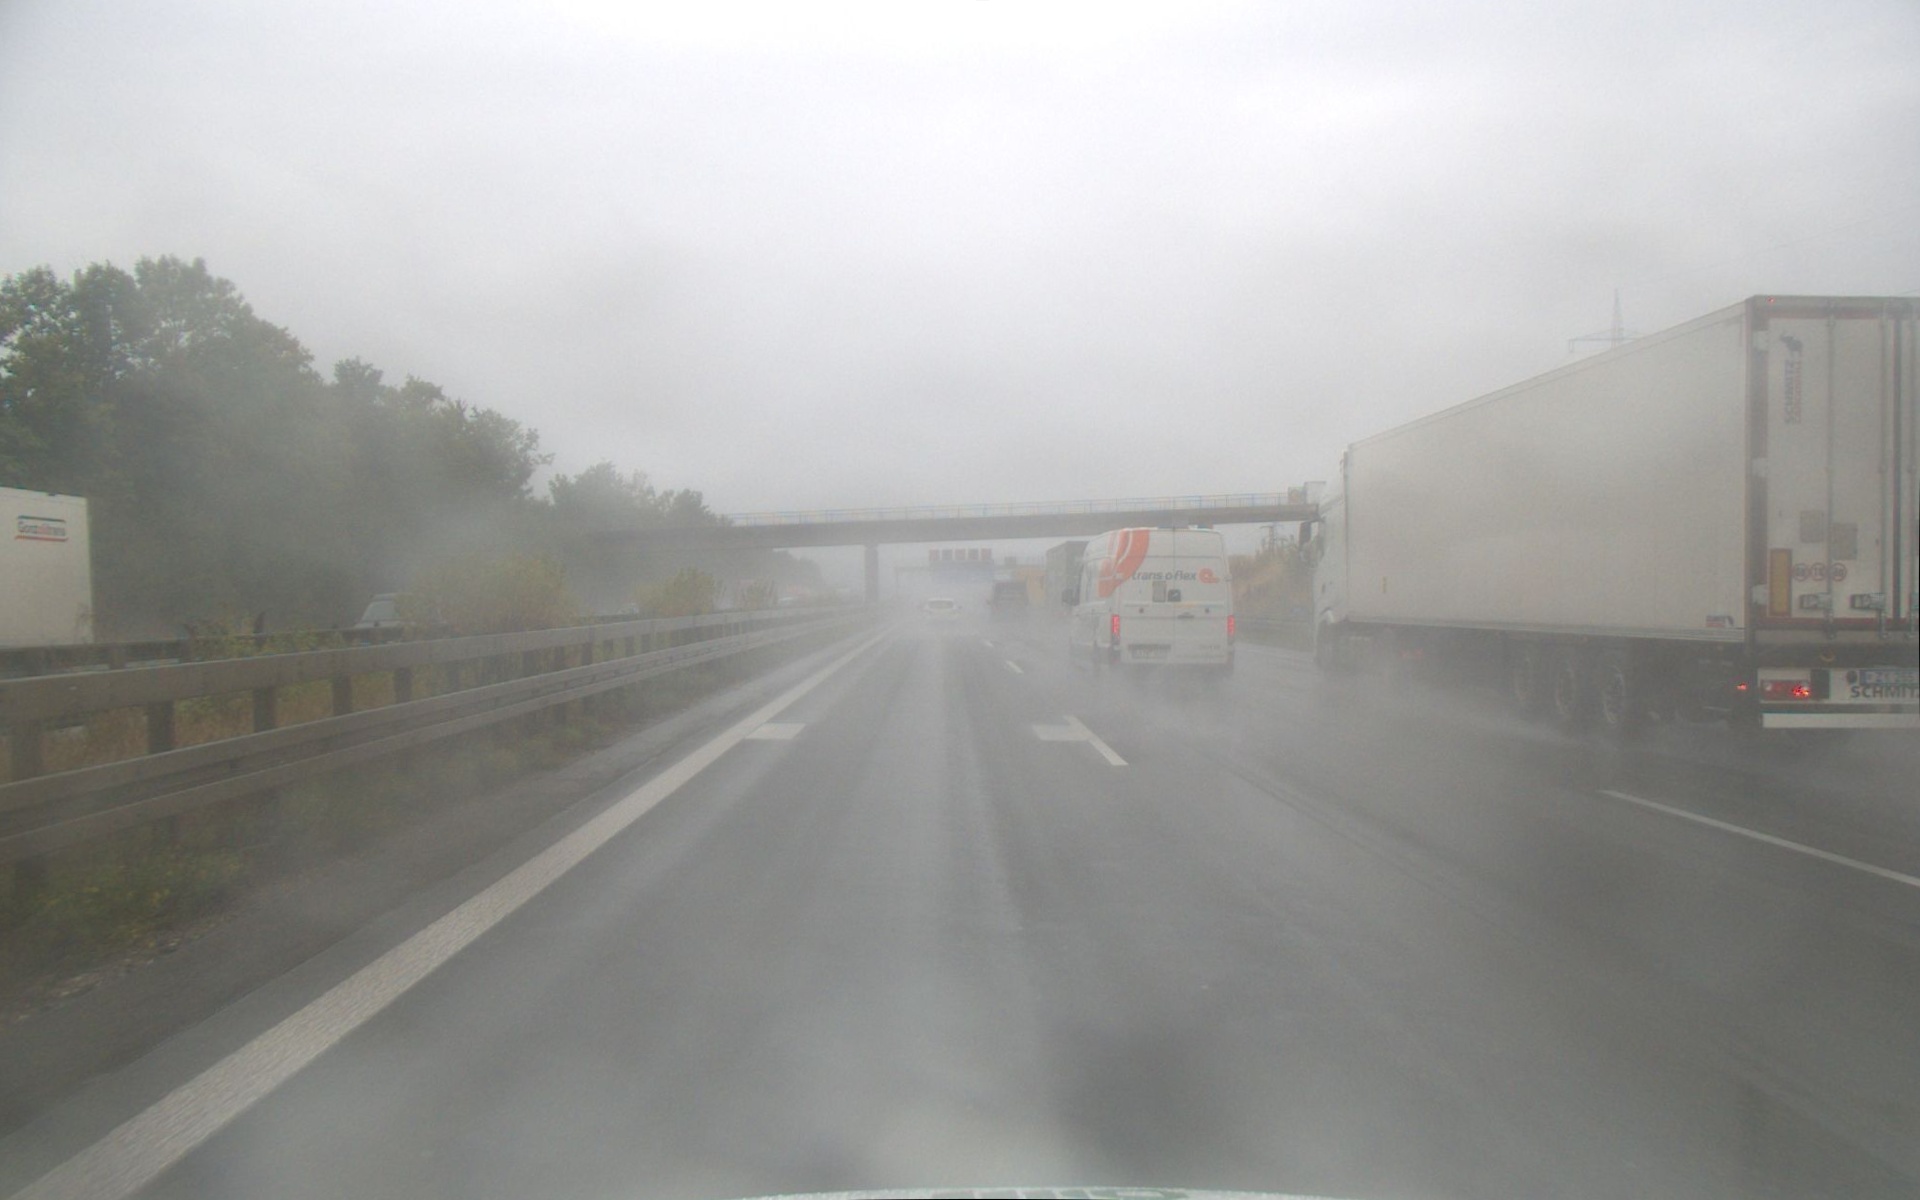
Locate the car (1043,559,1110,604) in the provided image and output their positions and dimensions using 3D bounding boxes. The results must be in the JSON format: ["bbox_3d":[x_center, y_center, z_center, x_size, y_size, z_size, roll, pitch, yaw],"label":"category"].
[{"bbox_3d":[5.475,-0.903,78.218,2.731,2.048,4.993,1,1,-1],"label":"car"}]

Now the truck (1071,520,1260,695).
[{"bbox_3d":[3.197,0.044,27.043,2.370,2.535,5.560,1,1,0],"label":"truck"}]

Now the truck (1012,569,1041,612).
[{"bbox_3d":[5.650,-0.834,141.075,2.066,3.577,5.246,1,1,-2],"label":"truck"}]

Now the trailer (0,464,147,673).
[{"bbox_3d":[-18.578,-0.580,28.027,1.960,3.837,15.526,1,0,0],"label":"trailer"}]

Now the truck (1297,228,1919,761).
[{"bbox_3d":[8.010,-0.994,22.764,2.978,4.668,16.346,1,1,-1],"label":"truck"}]

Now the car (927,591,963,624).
[{"bbox_3d":[-0.688,0.323,75.430,1.573,1.361,3.848,1,1,-1],"label":"car"}]
